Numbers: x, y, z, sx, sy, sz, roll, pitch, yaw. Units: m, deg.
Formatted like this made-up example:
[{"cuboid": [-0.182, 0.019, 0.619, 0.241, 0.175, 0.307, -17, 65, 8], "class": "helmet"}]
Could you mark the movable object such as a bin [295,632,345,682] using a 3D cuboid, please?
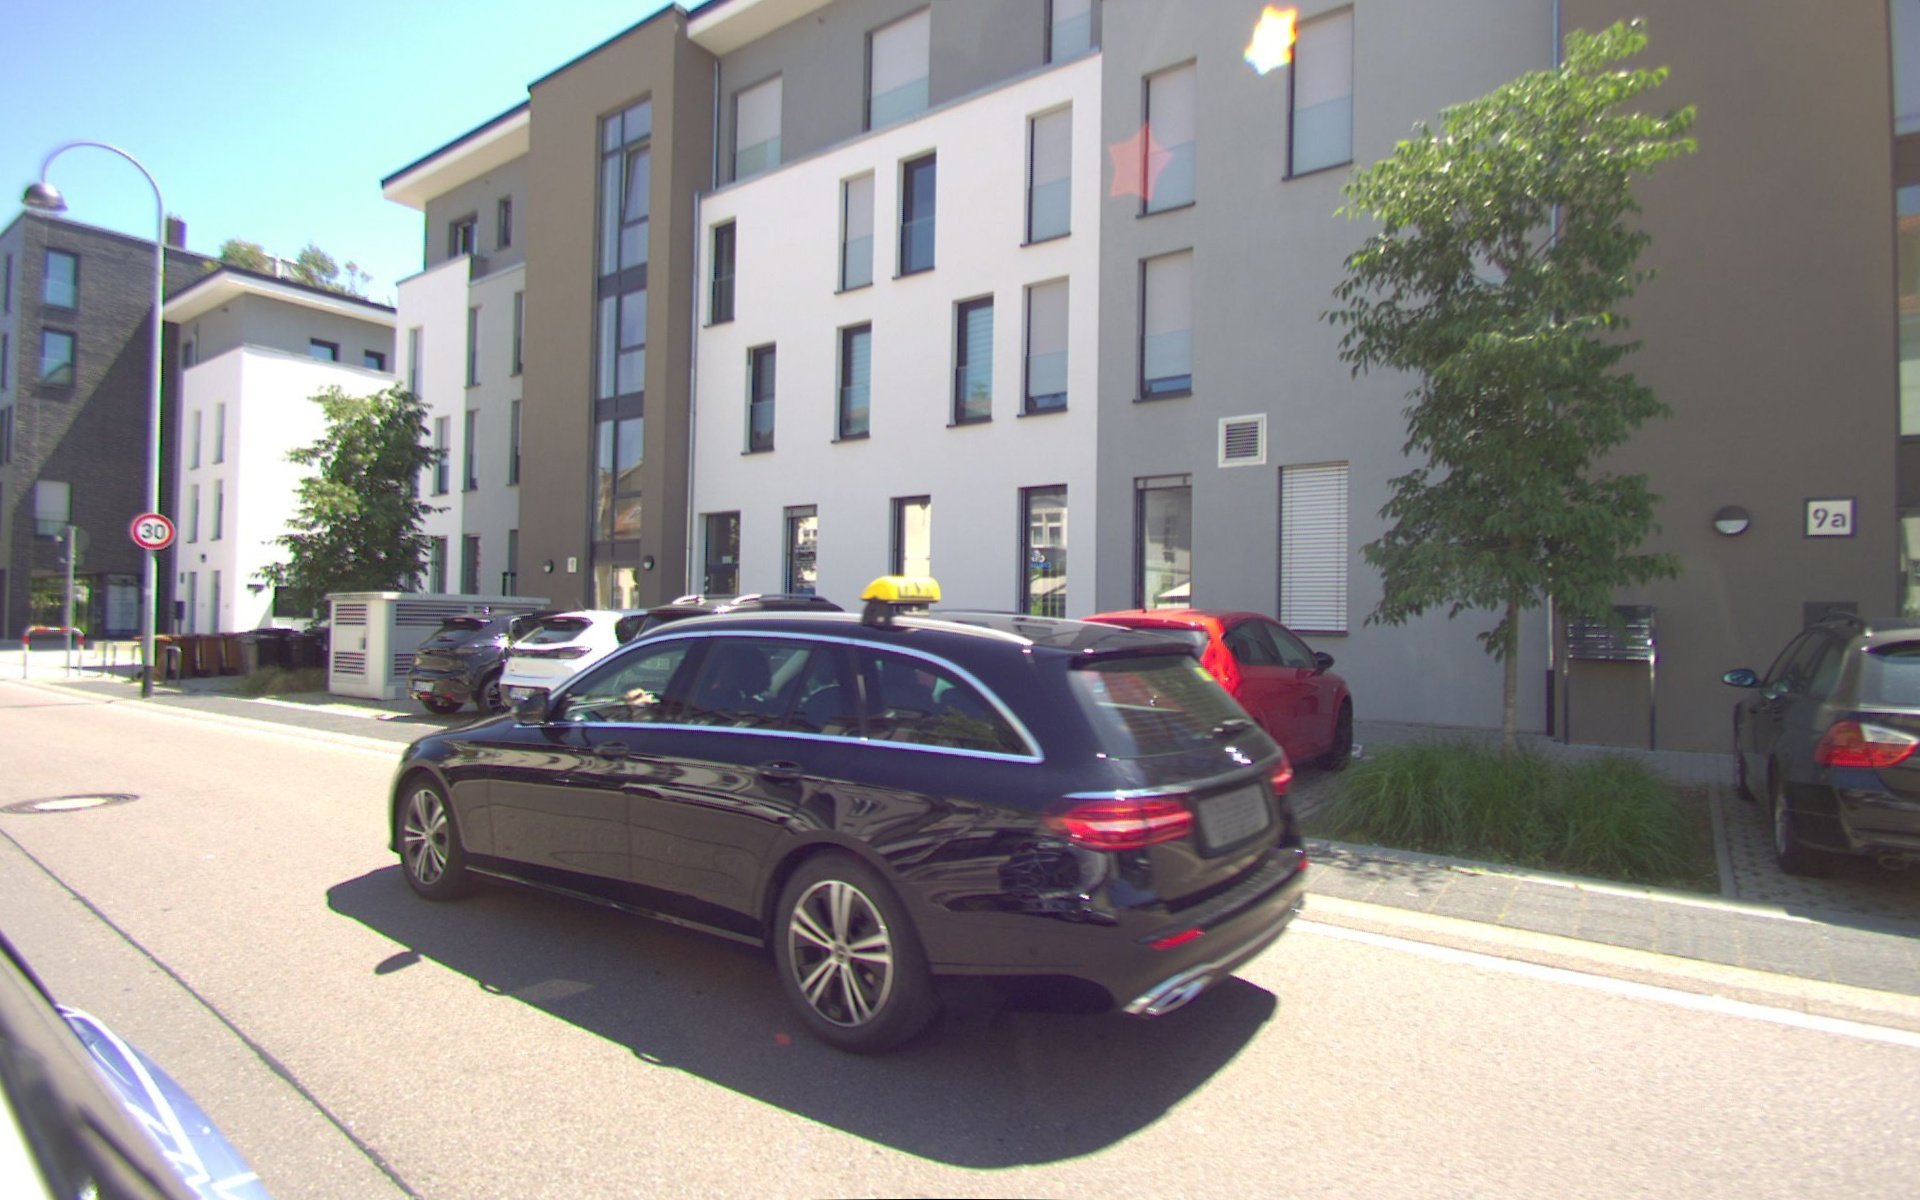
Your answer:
[{"cuboid": [-13.803, 1.212, 21.823, 0.600, 1.047, 0.673, 0, -2, 19], "class": "movable object such as a bin"}]

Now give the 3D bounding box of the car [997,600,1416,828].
[{"cuboid": [2.290, 0.734, 8.616, 1.998, 1.441, 3.993, 0, 0, 38], "class": "car"}]

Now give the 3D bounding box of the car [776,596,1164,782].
[{"cuboid": [0.283, 0.737, 10.435, 1.998, 1.508, 3.993, 0, 0, 38], "class": "car"}]

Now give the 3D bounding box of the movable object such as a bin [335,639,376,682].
[{"cuboid": [-12.665, 1.268, 21.215, 0.478, 0.874, 0.552, 0, -2, 19], "class": "movable object such as a bin"}]

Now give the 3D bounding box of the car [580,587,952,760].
[{"cuboid": [-2.114, 0.715, 11.915, 1.998, 1.663, 3.993, 0, 0, 38], "class": "car"}]

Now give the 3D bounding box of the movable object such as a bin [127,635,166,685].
[{"cuboid": [-16.898, 1.243, 21.028, 0.586, 1.005, 0.479, 0, -2, 35], "class": "movable object such as a bin"}]

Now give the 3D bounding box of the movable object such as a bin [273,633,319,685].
[{"cuboid": [-13.552, 1.193, 20.672, 0.541, 1.047, 0.552, 0, -2, 19], "class": "movable object such as a bin"}]

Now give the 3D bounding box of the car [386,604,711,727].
[{"cuboid": [-5.848, 0.819, 14.749, 1.997, 1.527, 3.949, 0, 0, 37], "class": "car"}]

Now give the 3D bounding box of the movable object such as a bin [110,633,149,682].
[{"cuboid": [-17.486, 1.199, 21.301, 0.586, 1.005, 0.479, 0, -2, 35], "class": "movable object such as a bin"}]

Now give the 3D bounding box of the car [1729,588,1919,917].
[{"cuboid": [5.886, 0.679, 5.870, 1.880, 1.448, 4.167, 0, 0, 32], "class": "car"}]

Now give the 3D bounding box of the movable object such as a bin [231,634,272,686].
[{"cuboid": [-14.088, 1.183, 20.132, 0.426, 1.005, 0.549, -1, -2, 38], "class": "movable object such as a bin"}]

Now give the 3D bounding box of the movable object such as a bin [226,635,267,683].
[{"cuboid": [-15.015, 1.235, 21.315, 0.402, 1.005, 0.551, 0, -2, 23], "class": "movable object such as a bin"}]

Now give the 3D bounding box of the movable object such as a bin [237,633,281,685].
[{"cuboid": [-14.365, 1.193, 20.736, 0.558, 1.028, 0.550, 0, -2, 32], "class": "movable object such as a bin"}]

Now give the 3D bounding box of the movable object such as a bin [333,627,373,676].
[{"cuboid": [-13.113, 1.103, 21.876, 0.478, 1.047, 0.552, 0, -2, 19], "class": "movable object such as a bin"}]

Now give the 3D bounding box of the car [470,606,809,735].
[{"cuboid": [-4.096, 0.801, 13.466, 1.907, 1.432, 3.950, 0, 0, 37], "class": "car"}]

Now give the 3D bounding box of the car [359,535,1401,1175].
[{"cuboid": [-0.733, 0.676, 4.692, 4.790, 1.565, 1.876, -1, -1, 37], "class": "car"}]

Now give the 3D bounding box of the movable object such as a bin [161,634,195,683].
[{"cuboid": [-16.568, 1.229, 21.446, 0.554, 1.005, 0.399, 0, -2, 35], "class": "movable object such as a bin"}]

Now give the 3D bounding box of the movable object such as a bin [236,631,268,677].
[{"cuboid": [-15.801, 1.205, 22.595, 0.554, 1.005, 0.399, 0, -2, 35], "class": "movable object such as a bin"}]

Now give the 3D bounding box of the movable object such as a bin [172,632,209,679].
[{"cuboid": [-16.853, 1.199, 22.159, 0.586, 1.005, 0.479, 0, -2, 35], "class": "movable object such as a bin"}]

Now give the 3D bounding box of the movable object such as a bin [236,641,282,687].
[{"cuboid": [-13.660, 1.238, 19.739, 0.478, 0.874, 0.552, 0, -2, 19], "class": "movable object such as a bin"}]

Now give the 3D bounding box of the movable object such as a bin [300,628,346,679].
[{"cuboid": [-13.360, 1.105, 21.230, 0.546, 1.047, 0.574, 0, -2, 19], "class": "movable object such as a bin"}]

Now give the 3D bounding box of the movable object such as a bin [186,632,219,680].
[{"cuboid": [-16.313, 1.190, 21.805, 0.554, 1.005, 0.399, 0, -2, 35], "class": "movable object such as a bin"}]

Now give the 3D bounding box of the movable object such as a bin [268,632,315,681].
[{"cuboid": [-14.488, 1.216, 21.931, 0.578, 1.047, 0.618, 0, -2, 19], "class": "movable object such as a bin"}]

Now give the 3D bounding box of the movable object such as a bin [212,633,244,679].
[{"cuboid": [-16.080, 1.223, 22.238, 0.554, 1.005, 0.399, 0, -2, 35], "class": "movable object such as a bin"}]
